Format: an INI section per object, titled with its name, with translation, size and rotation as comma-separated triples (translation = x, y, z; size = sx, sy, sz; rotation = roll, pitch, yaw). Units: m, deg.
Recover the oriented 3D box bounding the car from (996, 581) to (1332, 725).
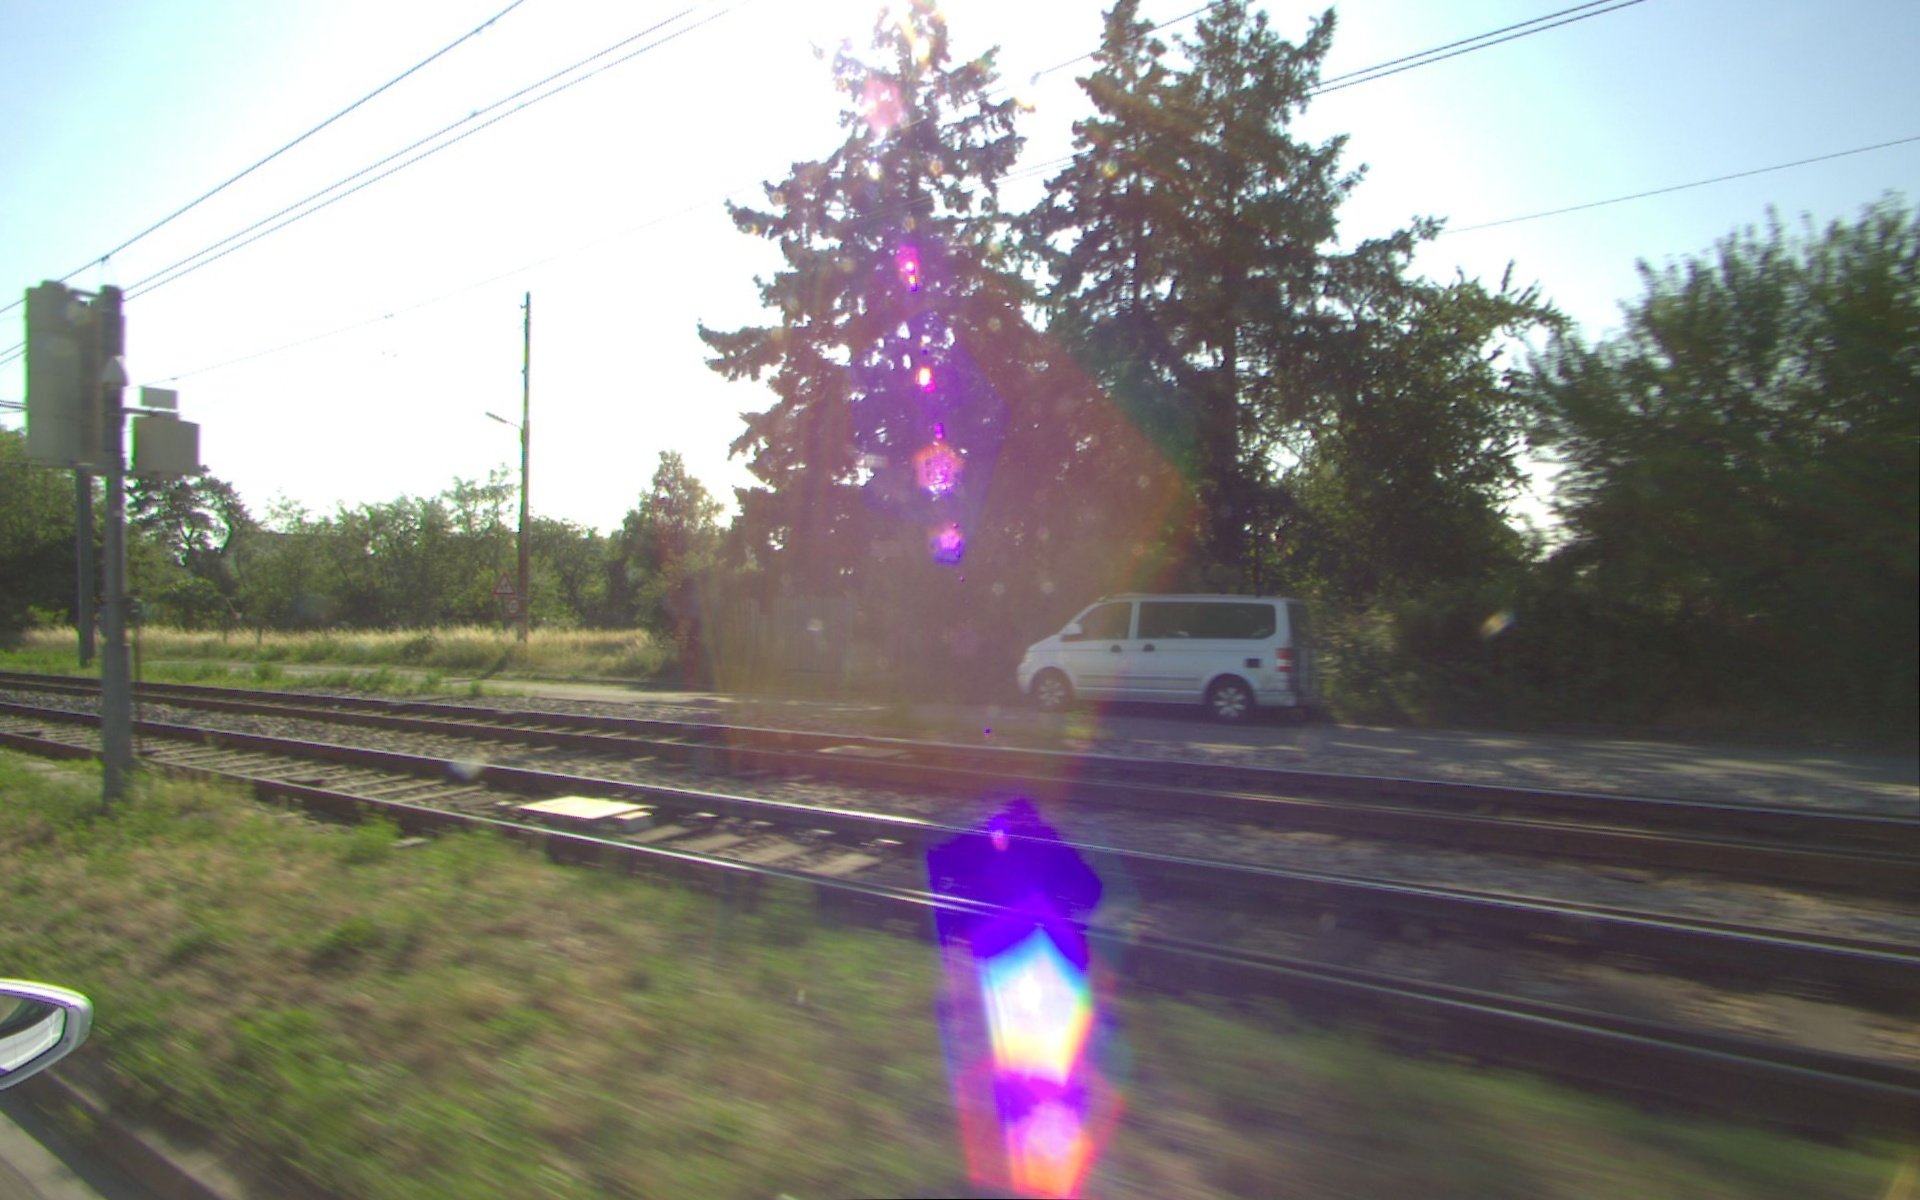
[car]
translation = 3.236, 0.842, 16.310
size = 4.996, 2.029, 1.991
rotation = -1, -3, 33
